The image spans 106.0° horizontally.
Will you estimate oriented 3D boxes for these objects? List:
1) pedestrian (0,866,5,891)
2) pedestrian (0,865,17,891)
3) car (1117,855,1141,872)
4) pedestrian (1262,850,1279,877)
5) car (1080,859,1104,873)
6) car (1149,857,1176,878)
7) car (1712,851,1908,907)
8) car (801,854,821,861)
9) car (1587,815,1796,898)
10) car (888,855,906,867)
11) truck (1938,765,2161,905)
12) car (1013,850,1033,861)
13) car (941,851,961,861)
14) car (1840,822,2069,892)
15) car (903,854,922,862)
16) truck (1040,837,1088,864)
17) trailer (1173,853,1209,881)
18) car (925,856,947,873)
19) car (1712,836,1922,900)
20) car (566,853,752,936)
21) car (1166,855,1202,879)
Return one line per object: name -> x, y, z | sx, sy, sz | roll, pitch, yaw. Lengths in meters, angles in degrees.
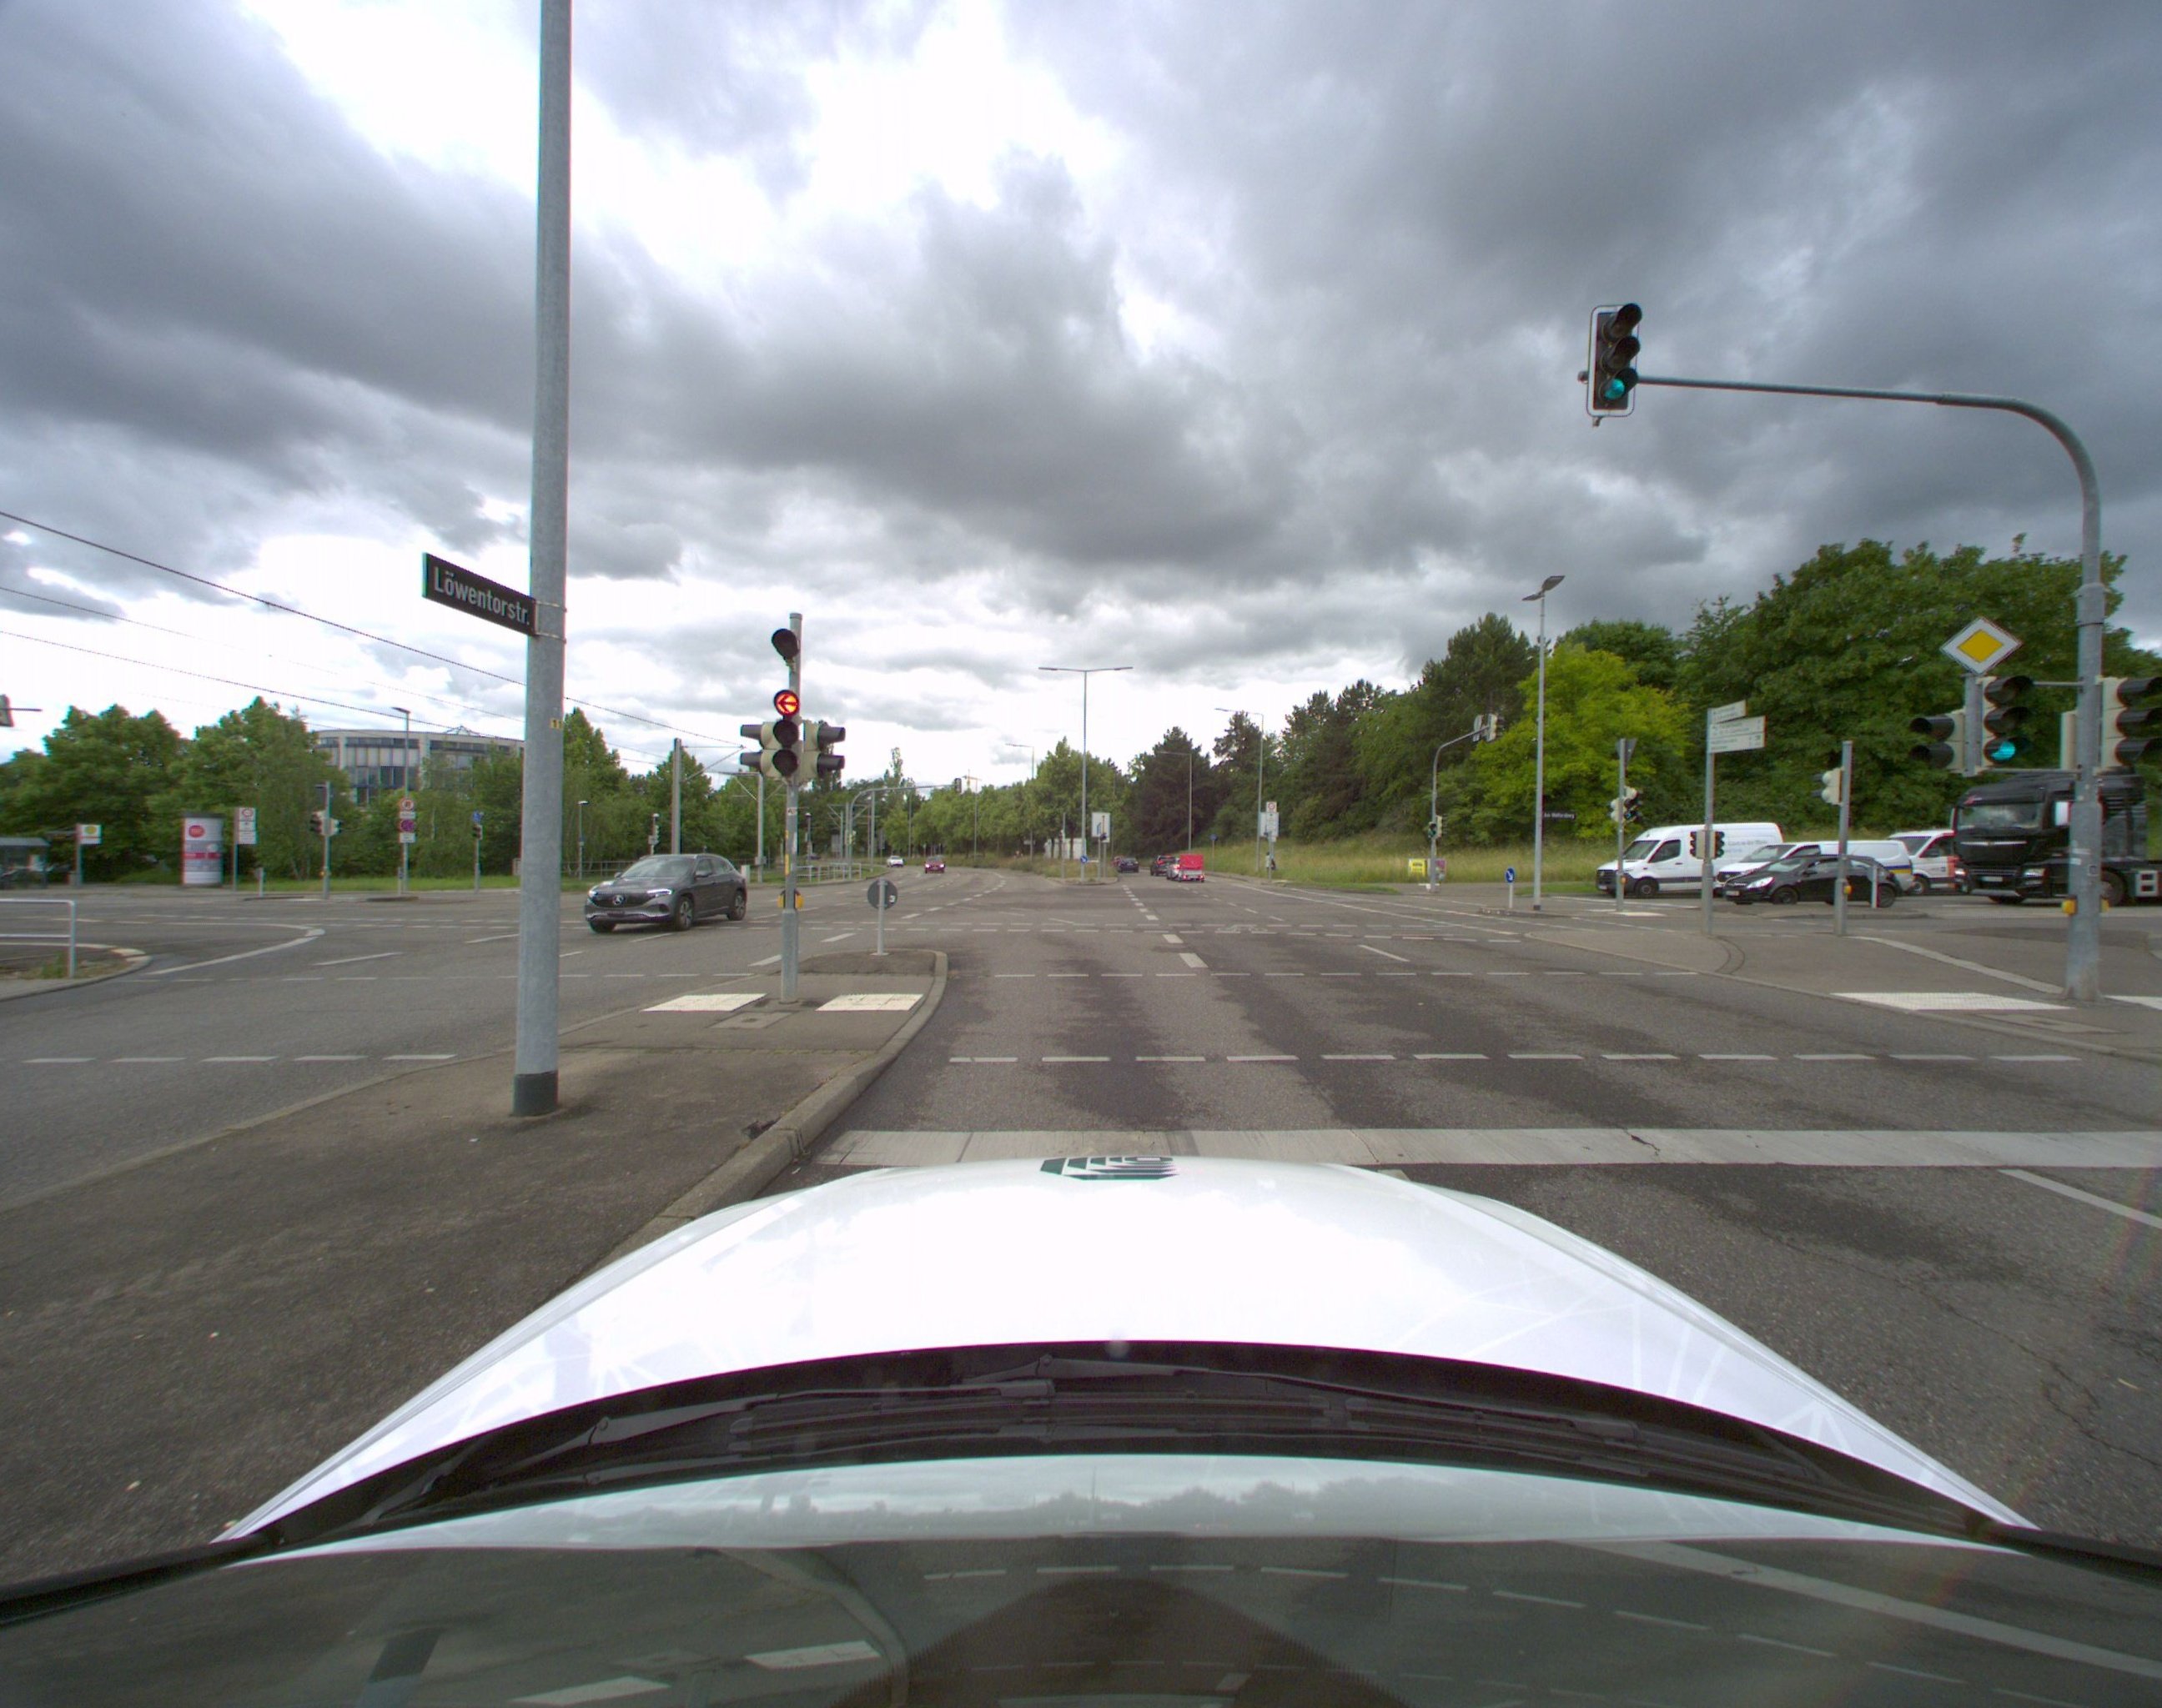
pedestrian -> -57.775, 1.303, 43.136 | 0.774, 1.303, 0.666 | 0, 0, 15
pedestrian -> -56.476, 1.262, 42.646 | 0.774, 1.304, 0.666 | 0, 0, 15
car -> 4.554, 0.890, 77.669 | 1.774, 1.546, 4.020 | 0, 0, -3
pedestrian -> 11.423, 0.566, 49.085 | 0.811, 1.627, 0.791 | 0, 0, 1
car -> 1.181, 1.341, 91.909 | 1.780, 1.546, 4.007 | -1, 0, -13
car -> 6.416, 1.024, 64.257 | 1.772, 1.546, 4.025 | 0, 0, 1
car -> 20.283, 0.667, 22.772 | 3.905, 1.436, 1.732 | -1, 0, 1
car -> -57.004, 0.721, 171.824 | 3.974, 1.546, 1.794 | 0, 0, 26
car -> 21.900, 0.093, 29.409 | 5.870, 2.781, 2.136 | -1, 0, 2
car -> -25.441, 0.945, 112.444 | 1.835, 1.629, 4.395 | -1, 0, -20
truck -> 27.937, -0.518, 22.269 | 6.027, 3.538, 2.729 | -1, 0, 2
car -> -8.642, 0.234, 121.364 | 1.785, 1.546, 3.996 | -1, 0, -21
car -> -22.530, 0.425, 141.162 | 2.008, 1.684, 3.958 | 0, -1, -34
car -> 30.685, 0.106, 28.763 | 5.677, 2.289, 2.136 | -1, 0, 2
car -> -31.704, 0.794, 153.203 | 1.793, 1.546, 3.976 | -1, 0, -42
truck -> -2.412, -0.484, 105.992 | 2.749, 3.328, 11.329 | 0, 0, -20
trailer -> 6.446, 0.734, 48.062 | 1.759, 1.616, 3.044 | 0, 0, 0
car -> -13.004, 0.891, 73.025 | 1.782, 1.443, 4.407 | -1, 0, -12
car -> 23.425, 0.425, 26.069 | 4.836, 1.896, 2.034 | -1, 0, 1
car -> -8.940, 0.773, 17.714 | 1.772, 1.546, 4.226 | 0, 0, 1
car -> 6.493, 0.818, 51.815 | 1.772, 1.421, 4.459 | 0, 0, 1
